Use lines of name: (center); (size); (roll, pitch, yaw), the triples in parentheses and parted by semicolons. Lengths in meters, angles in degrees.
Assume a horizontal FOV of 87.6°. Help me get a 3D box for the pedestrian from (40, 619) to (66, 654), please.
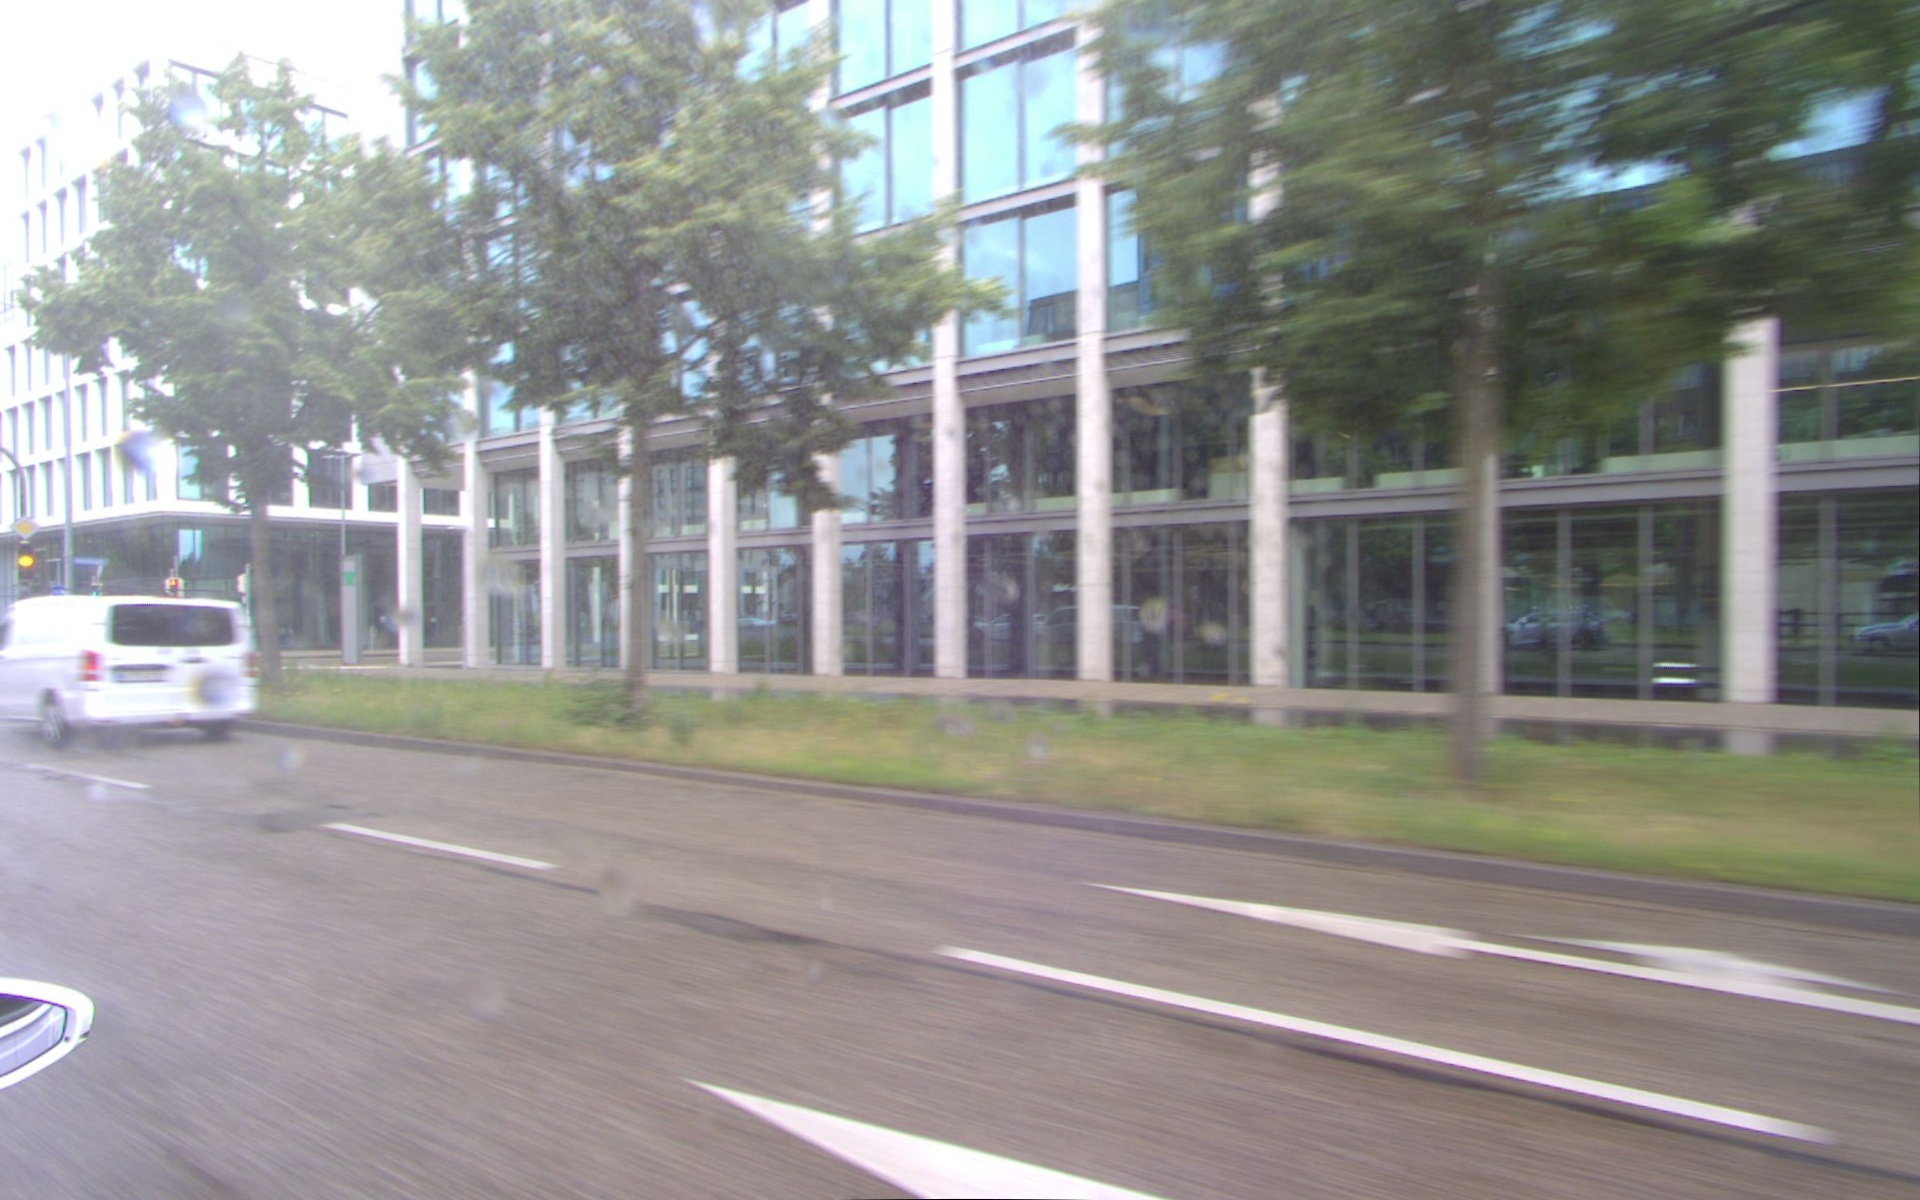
pedestrian: (-44.457, 1.789, 49.073); (0.771, 1.729, 0.677); (0, 0, 25)

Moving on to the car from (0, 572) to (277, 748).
car: (-11.598, 0.755, 13.615); (5.018, 2.005, 1.964); (-1, -2, 32)
